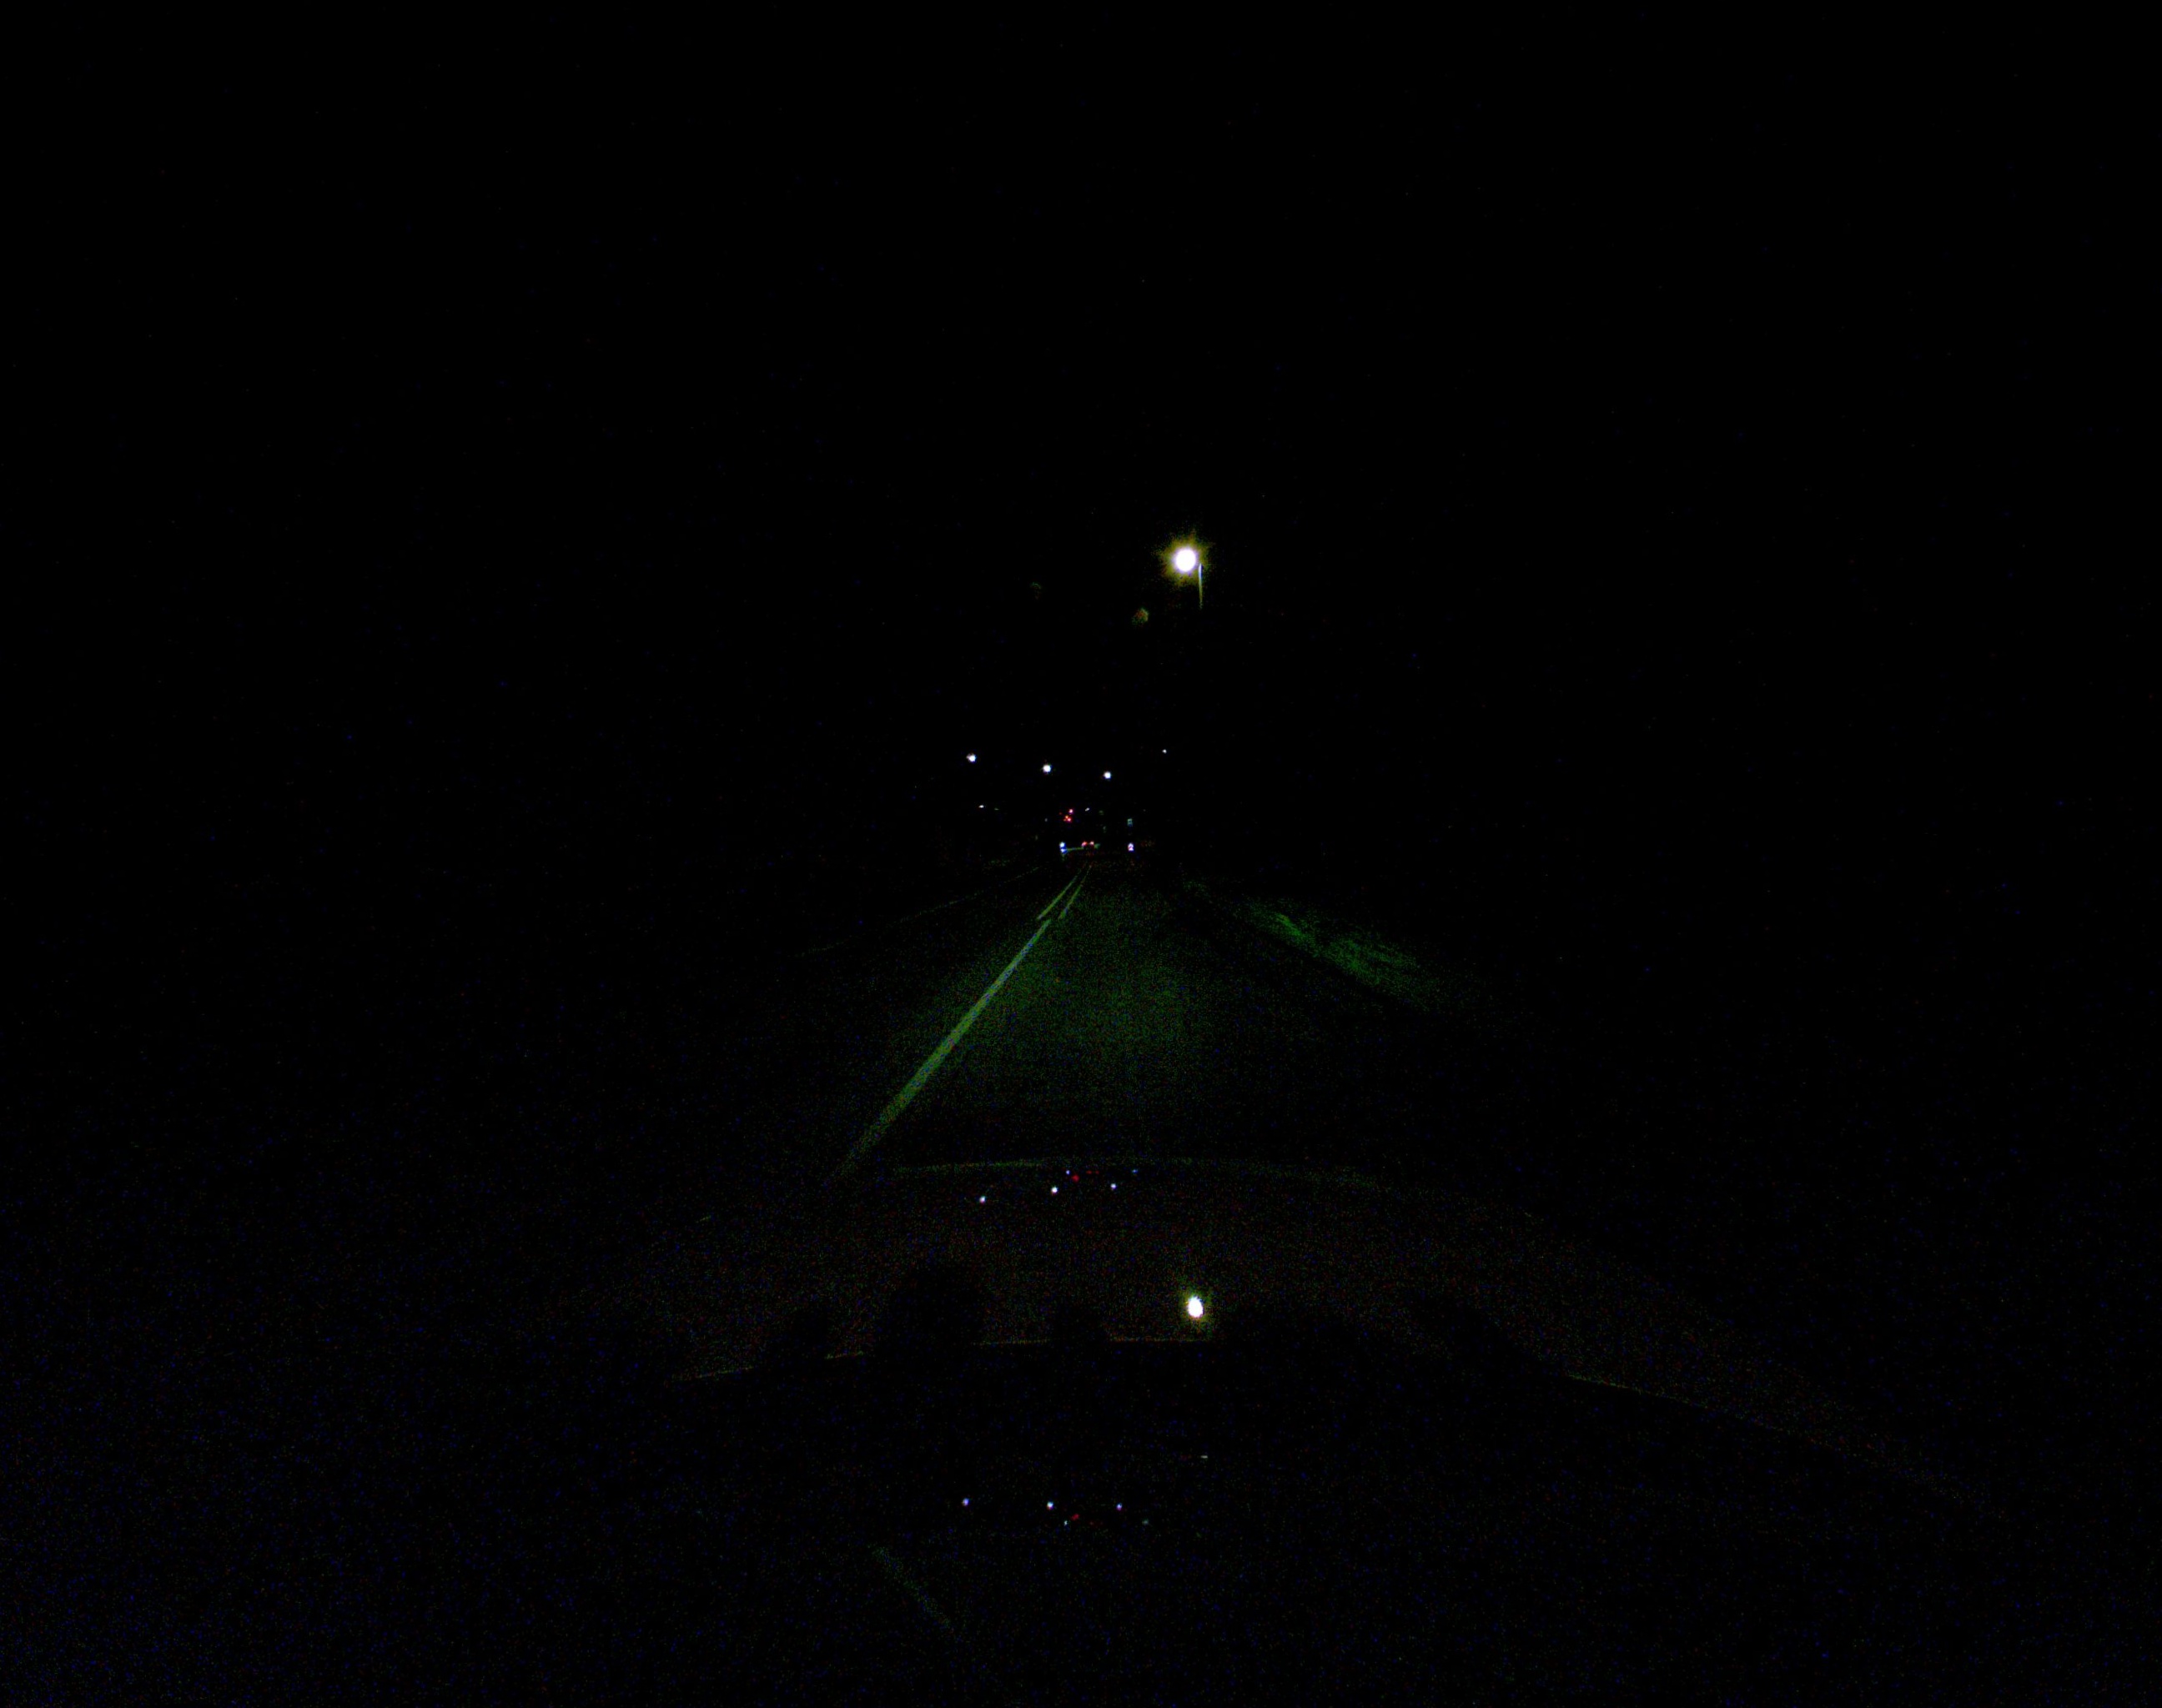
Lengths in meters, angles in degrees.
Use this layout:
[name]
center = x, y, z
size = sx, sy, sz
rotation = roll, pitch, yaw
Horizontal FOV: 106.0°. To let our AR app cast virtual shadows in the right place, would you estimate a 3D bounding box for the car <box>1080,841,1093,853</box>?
[car]
center = 0.945, -1.227, 141.285
size = 1.914, 2.014, 4.117
rotation = 0, 0, -3
